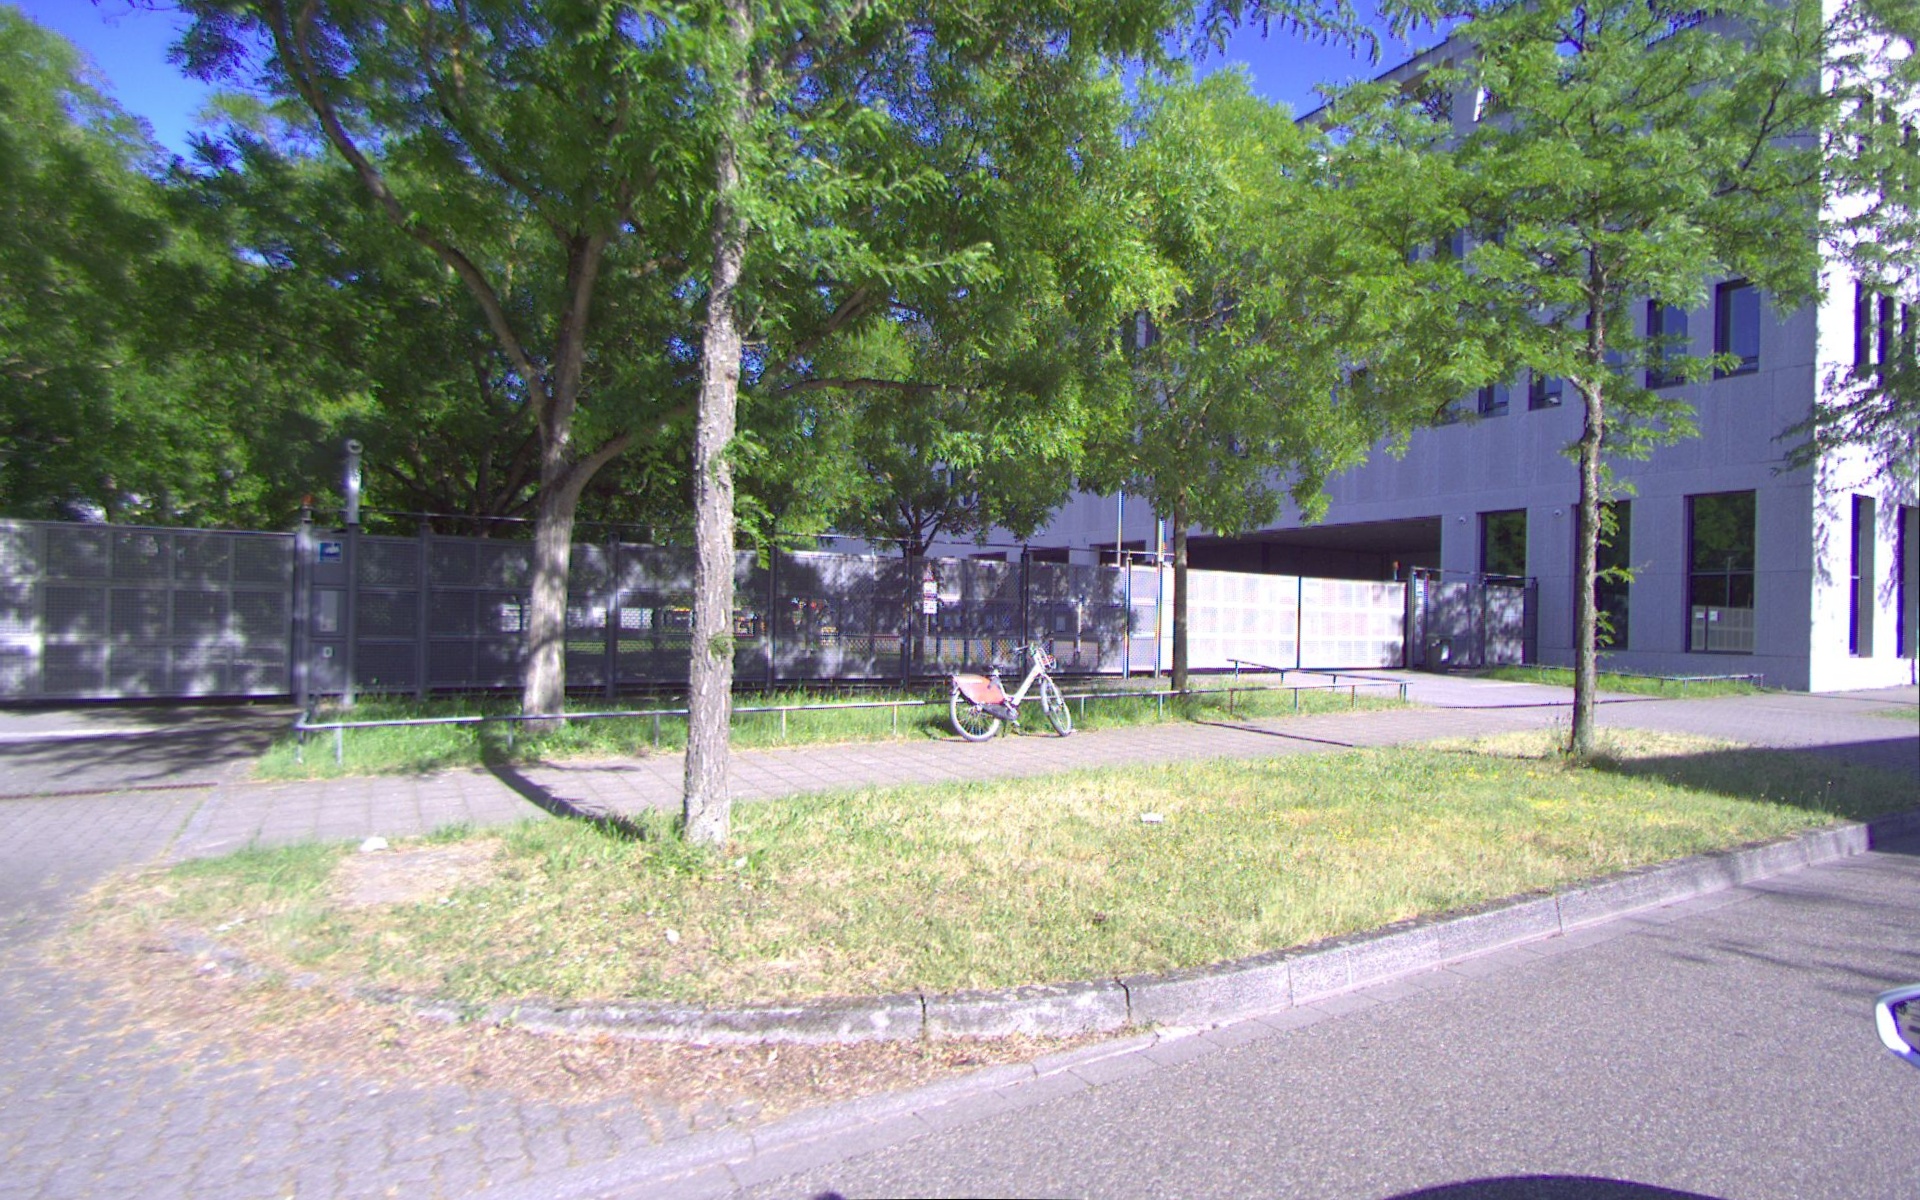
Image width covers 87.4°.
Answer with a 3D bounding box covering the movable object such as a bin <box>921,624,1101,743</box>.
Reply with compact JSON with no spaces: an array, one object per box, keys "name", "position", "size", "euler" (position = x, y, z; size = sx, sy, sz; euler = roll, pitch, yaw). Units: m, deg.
[{"name":"movable object such as a bin","position":[0.575,0.882,11.014],"size":[1.913,1.197,0.659],"euler":[2,-1,-31]}]
